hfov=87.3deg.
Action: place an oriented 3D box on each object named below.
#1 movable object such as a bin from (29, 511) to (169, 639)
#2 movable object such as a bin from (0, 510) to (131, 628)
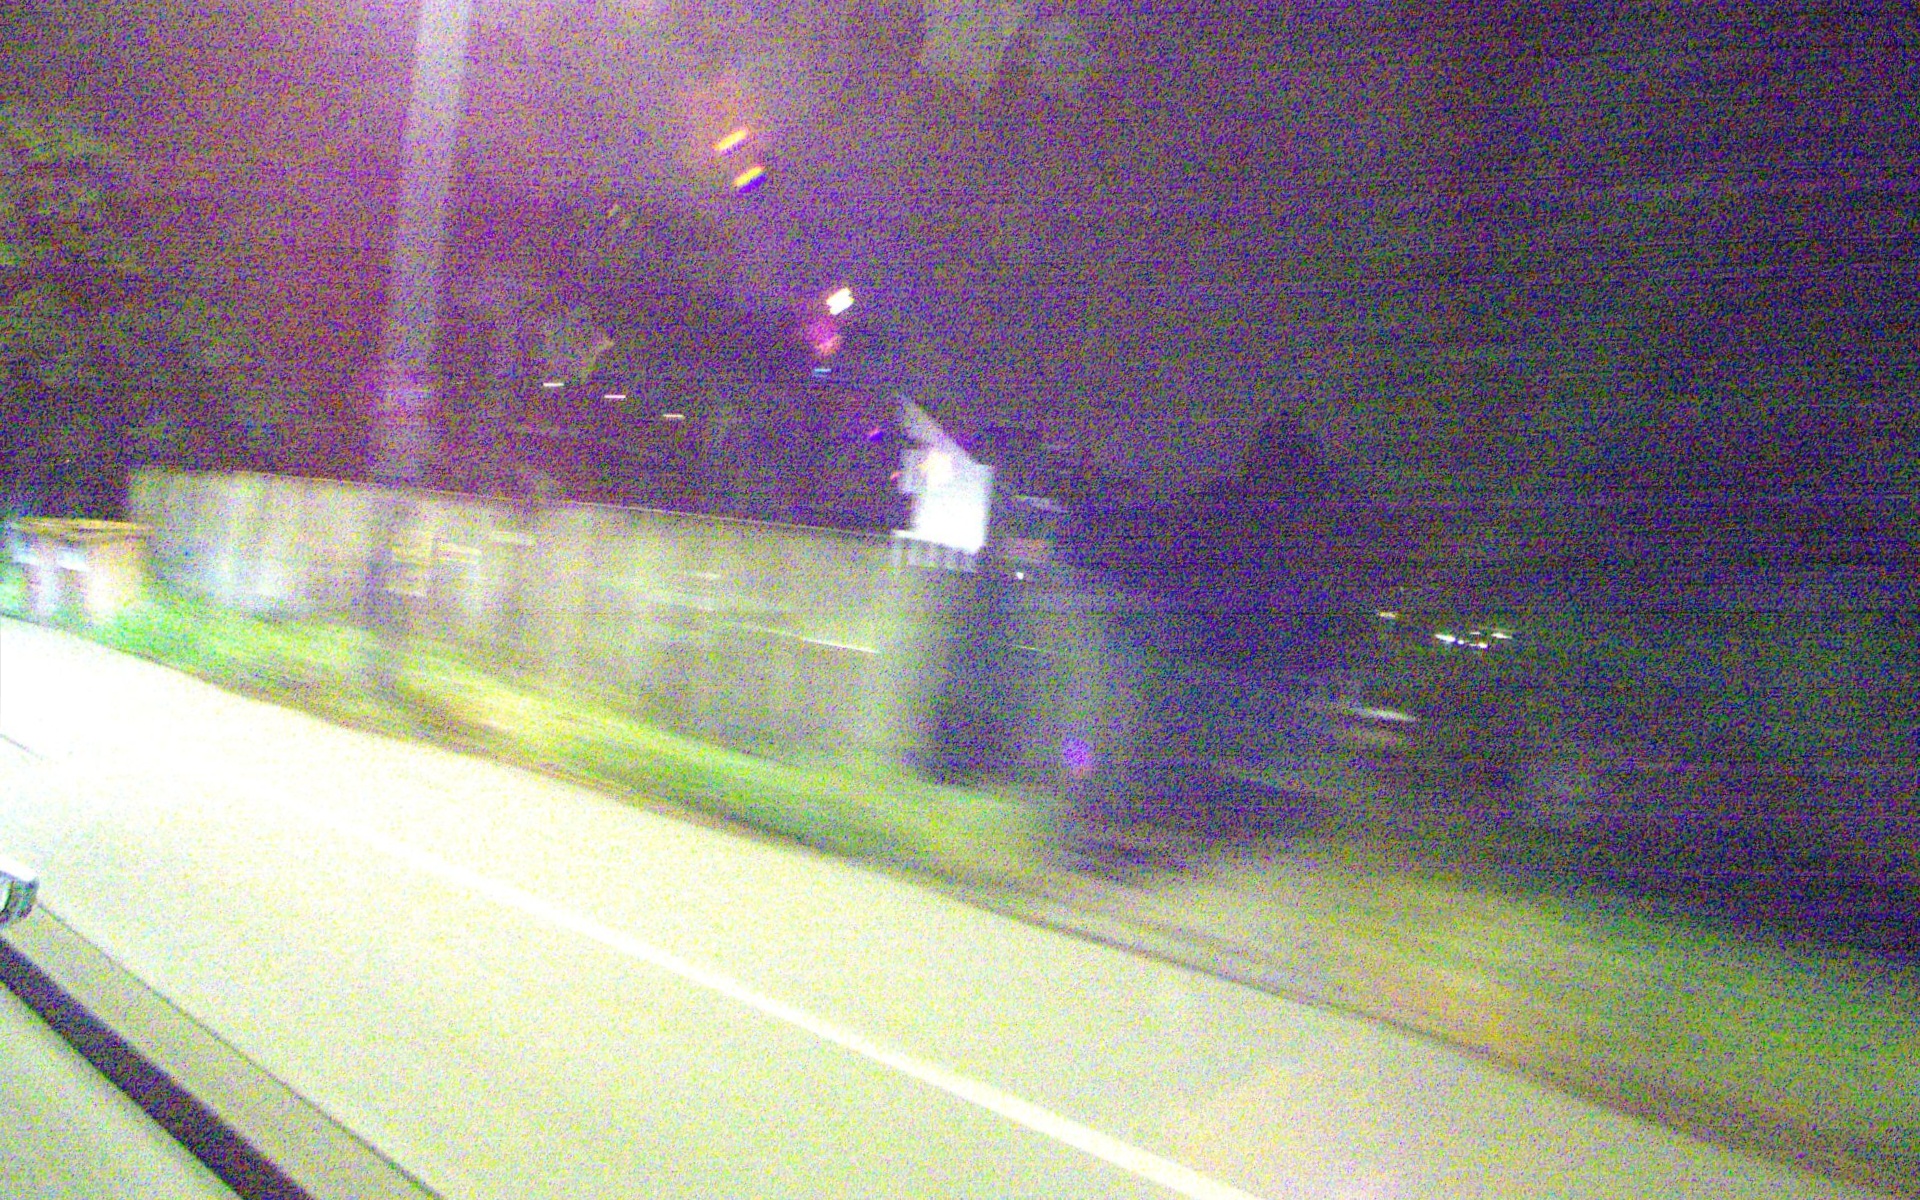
[{"bbox_3d":[-8.956,-0.253,10.473,0.815,1.196,0.834,7,0,34],"label":"movable object such as a bin"},{"bbox_3d":[-9.709,-0.326,10.888,0.827,1.133,0.858,7,0,34],"label":"movable object such as a bin"}]
